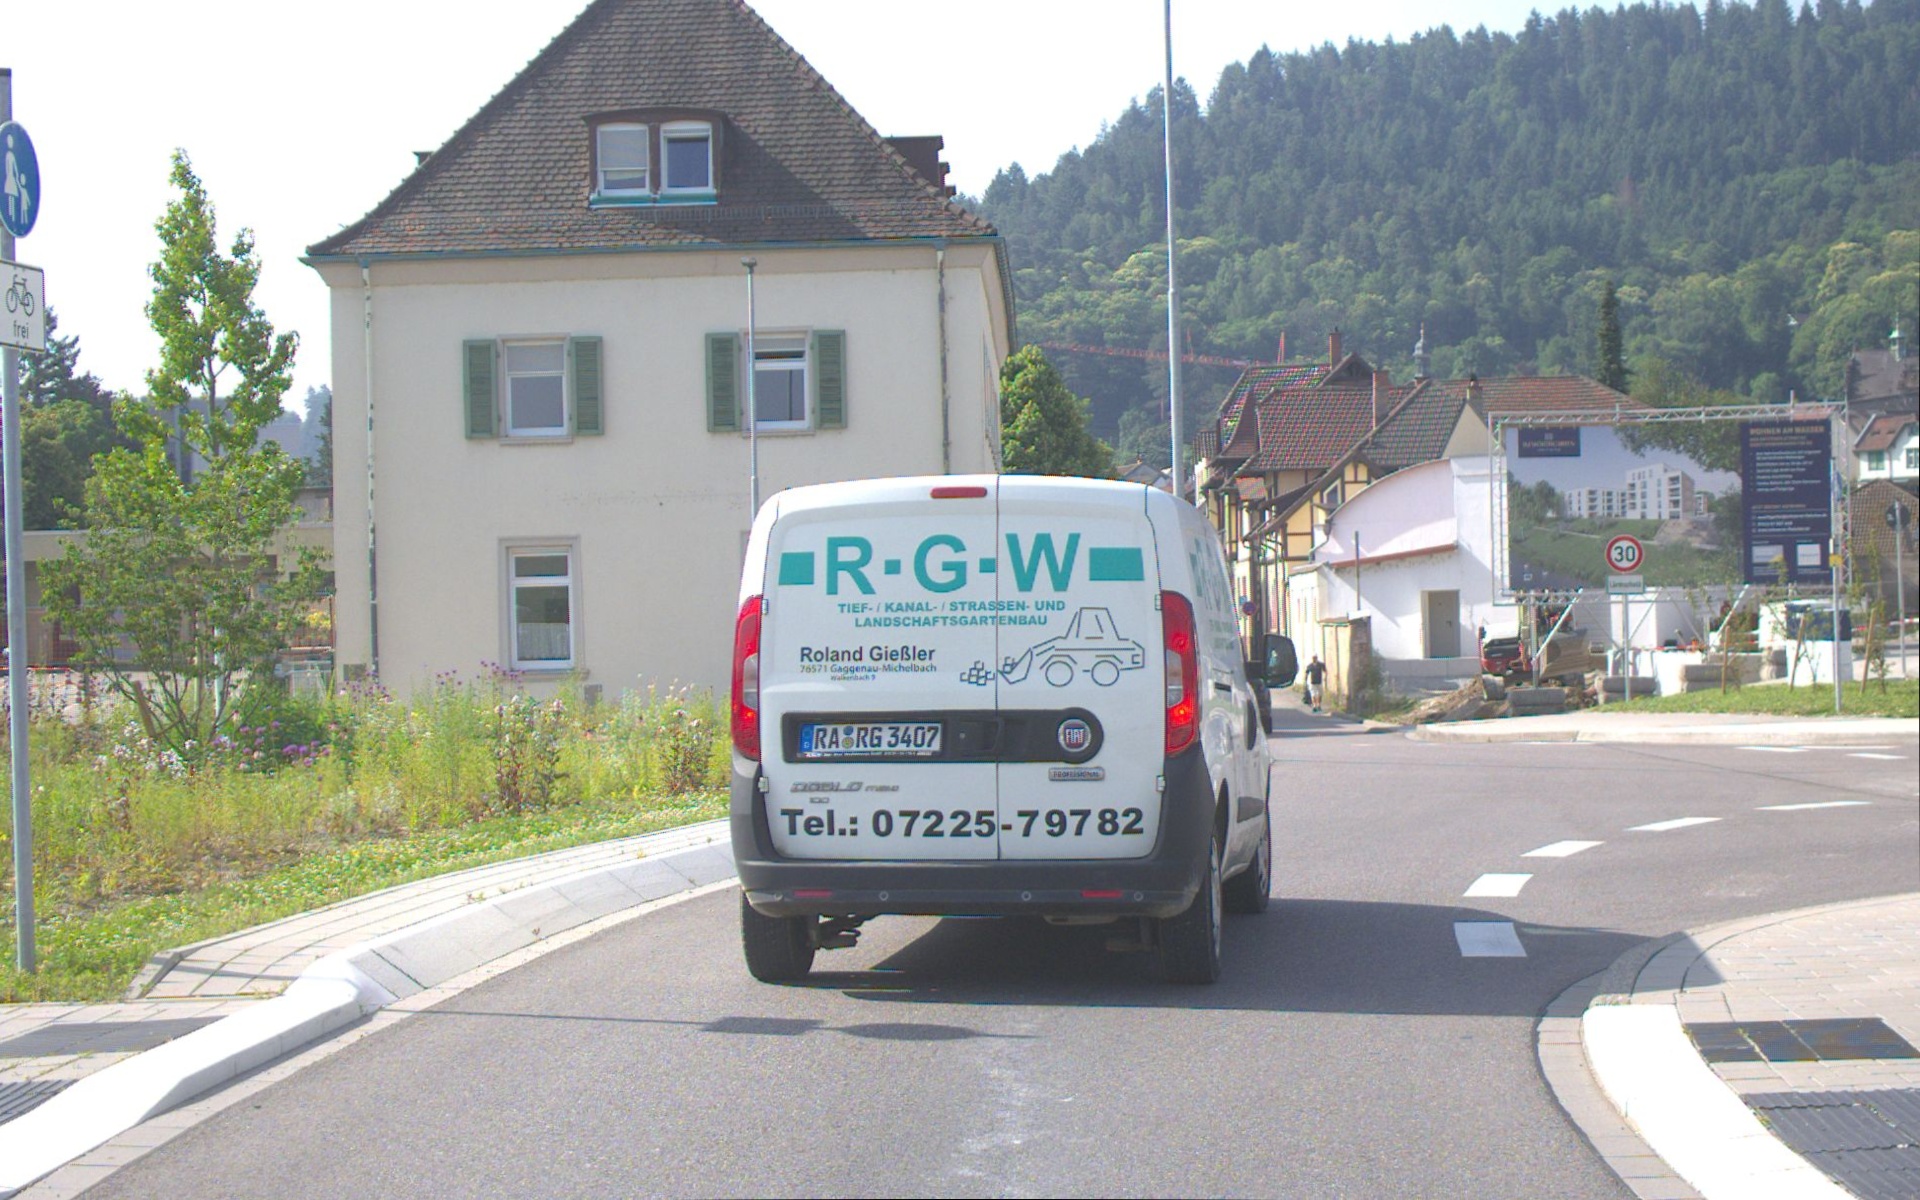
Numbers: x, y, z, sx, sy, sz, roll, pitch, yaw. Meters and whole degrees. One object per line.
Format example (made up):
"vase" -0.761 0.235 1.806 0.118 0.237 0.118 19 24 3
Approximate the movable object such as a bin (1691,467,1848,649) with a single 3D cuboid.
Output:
"movable object such as a bin" 18.093 -0.855 77.227 2.295 3.841 7.796 1 -1 5

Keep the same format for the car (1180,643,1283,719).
"car" 6.137 1.821 78.090 1.810 1.591 3.927 1 0 -3

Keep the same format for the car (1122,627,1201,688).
"car" 5.659 1.598 96.998 1.810 1.591 3.927 1 0 -3

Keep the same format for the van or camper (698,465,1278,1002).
"van or camper" 0.277 0.493 13.961 1.828 1.838 4.187 -1 -1 8

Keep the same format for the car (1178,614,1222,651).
"car" 10.985 1.470 157.483 1.810 1.591 3.926 1 0 1

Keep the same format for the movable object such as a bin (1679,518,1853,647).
"movable object such as a bin" 23.439 -0.519 99.853 2.856 3.609 5.724 1 1 36

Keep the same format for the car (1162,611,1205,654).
"car" 10.886 1.565 167.463 1.871 2.007 4.000 0 0 1
